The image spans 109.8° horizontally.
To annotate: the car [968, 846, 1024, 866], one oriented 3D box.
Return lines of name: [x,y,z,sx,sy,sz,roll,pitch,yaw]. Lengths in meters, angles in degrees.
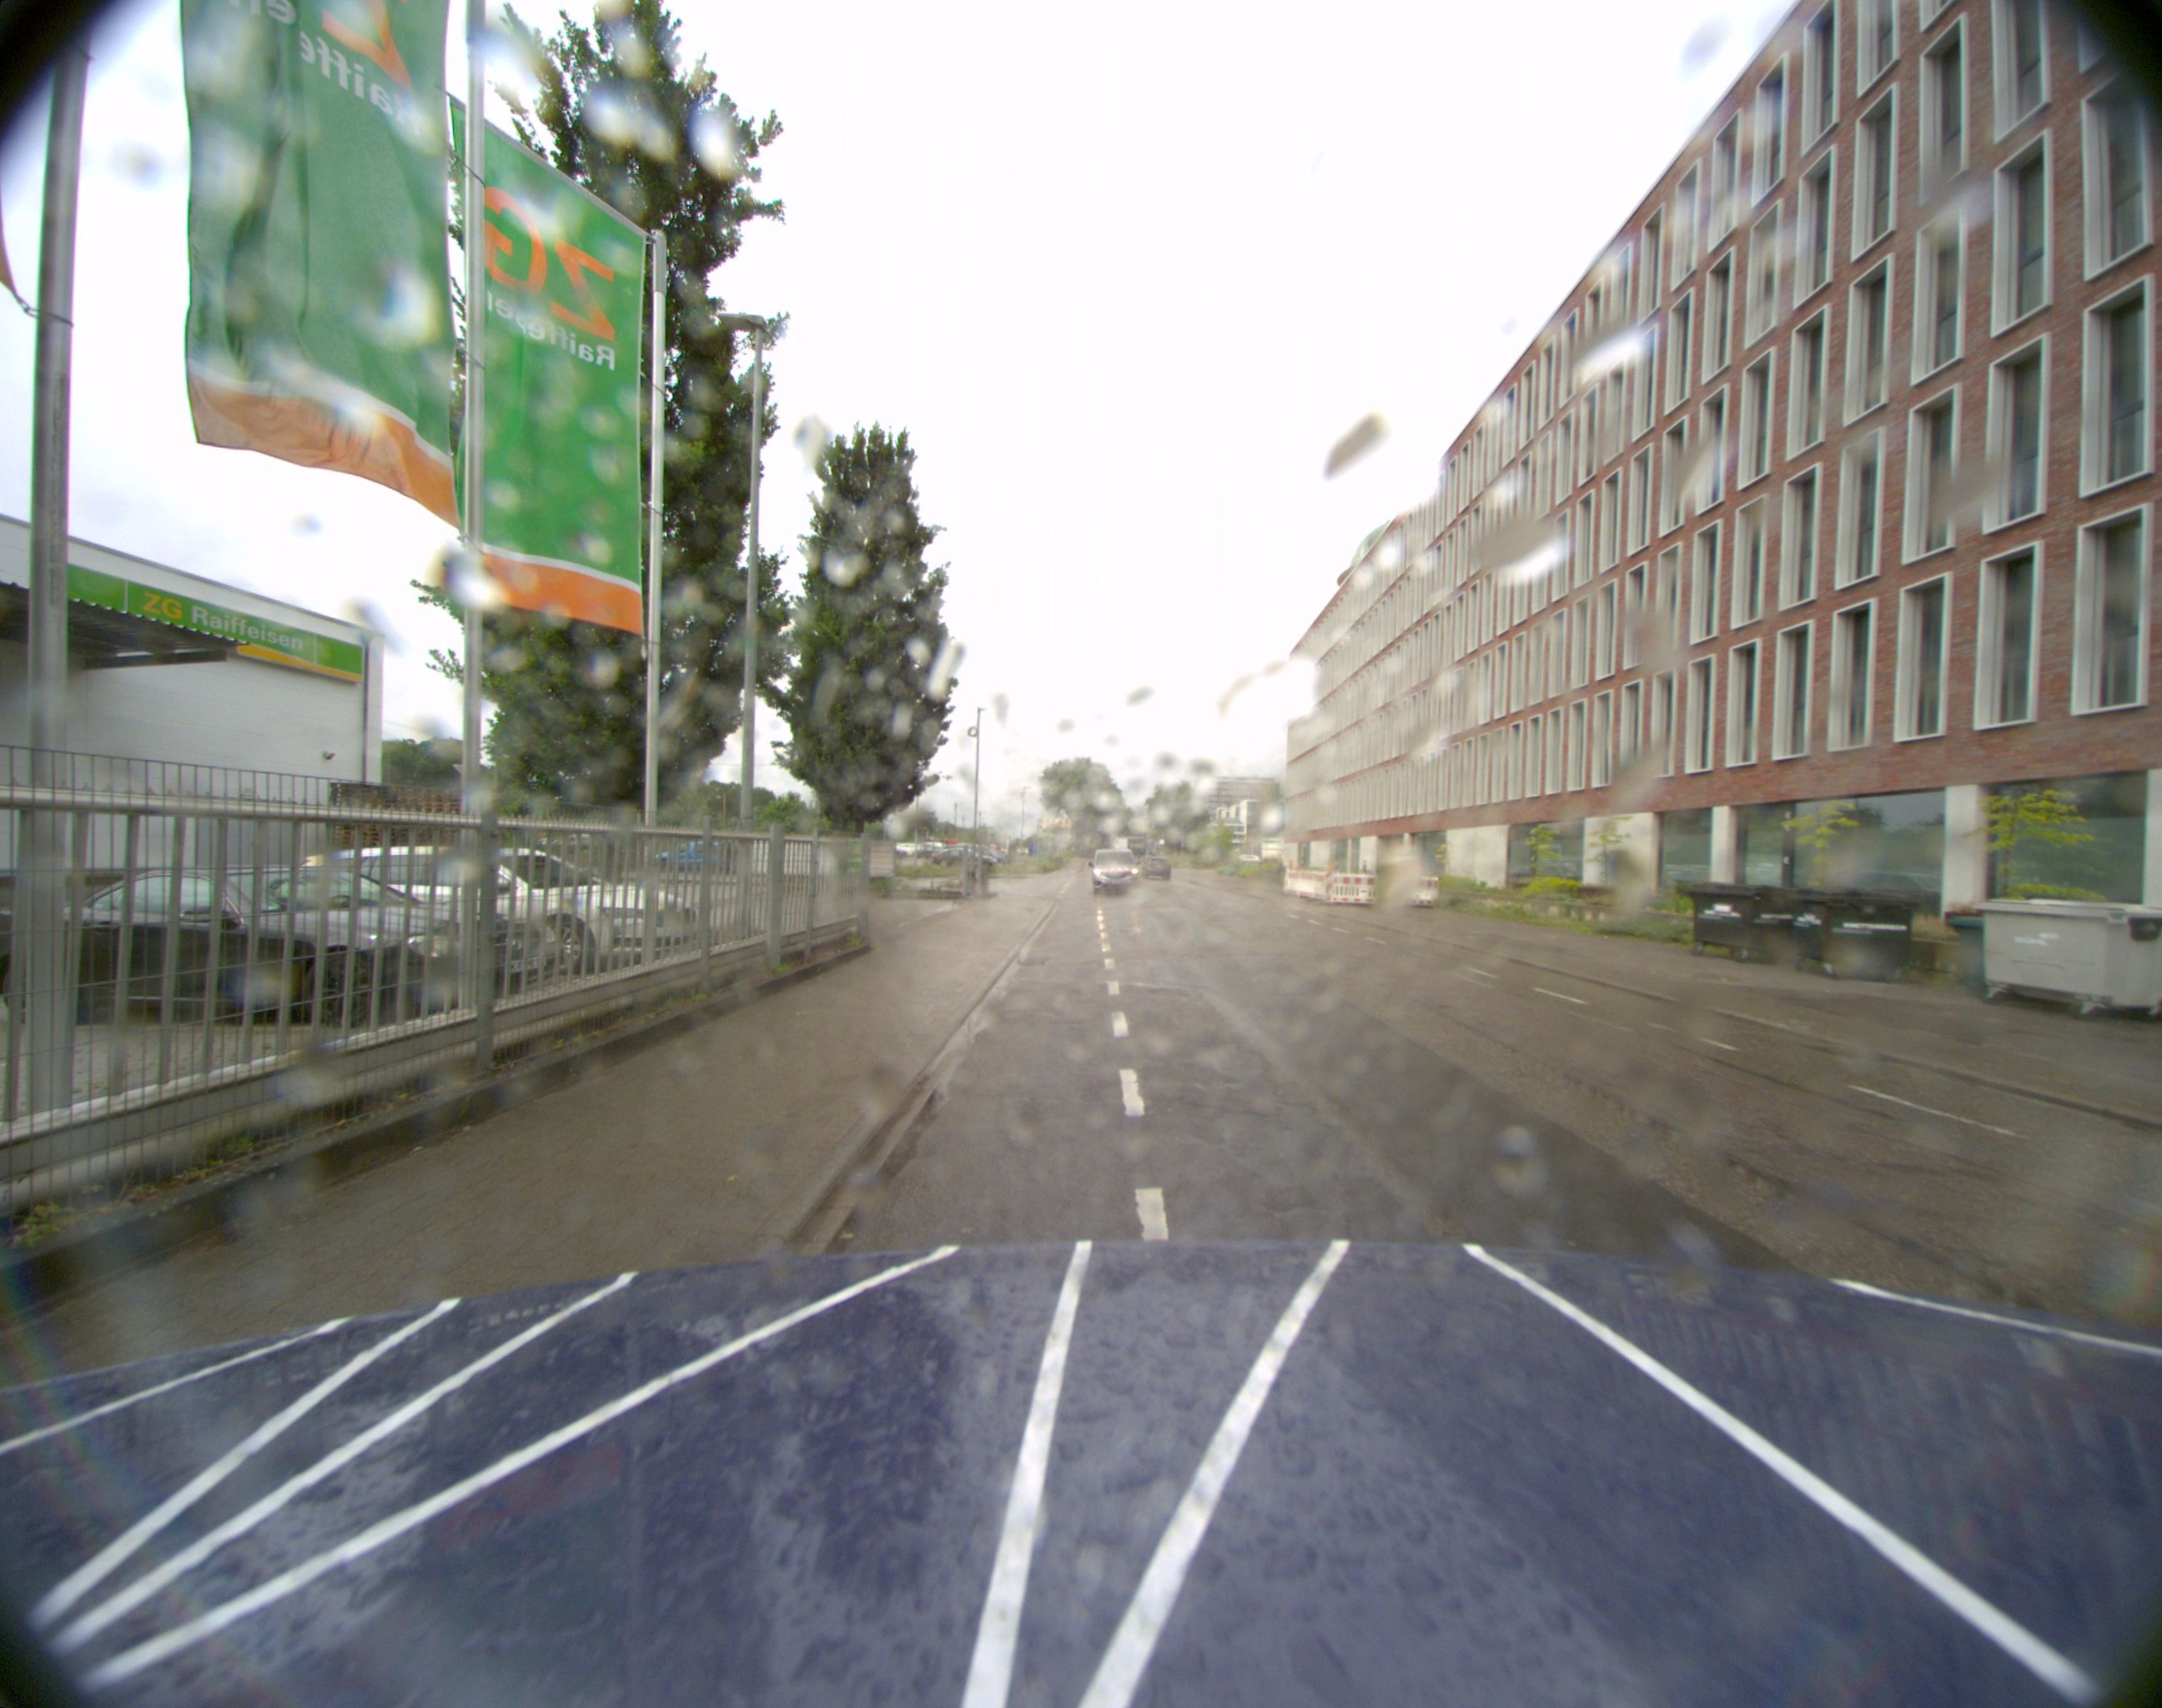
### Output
car: [-6.961,0.142,62.185,4.306,1.508,1.819,1,2,2]

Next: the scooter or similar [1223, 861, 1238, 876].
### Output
scooter or similar: [13.212,1.264,67.111,0.468,1.223,1.317,2,1,-27]

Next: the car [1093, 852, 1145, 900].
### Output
car: [1.466,0.807,30.611,1.838,1.714,4.172,2,1,0]

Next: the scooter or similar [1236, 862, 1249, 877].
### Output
scooter or similar: [13.831,1.341,65.178,0.466,1.223,1.211,4,1,44]

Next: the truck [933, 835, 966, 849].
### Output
truck: [-23.615,-2.147,136.654,5.301,2.354,2.153,3,1,1]

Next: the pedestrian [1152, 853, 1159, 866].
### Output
pedestrian: [9.942,0.777,101.335,0.911,1.708,1.026,2,2,1]

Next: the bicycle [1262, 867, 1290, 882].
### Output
bicycle: [14.068,1.483,54.828,1.864,1.071,0.544,0,1,0]

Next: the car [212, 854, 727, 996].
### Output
car: [-7.131,0.774,9.256,4.715,1.454,1.890,1,0,0]

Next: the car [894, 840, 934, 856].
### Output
car: [-18.641,-0.729,84.907,3.838,1.476,1.928,4,2,4]

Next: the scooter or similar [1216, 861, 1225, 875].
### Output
scooter or similar: [12.581,1.229,68.368,0.467,1.223,1.320,3,1,-2]

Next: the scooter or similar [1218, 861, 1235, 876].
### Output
scooter or similar: [12.578,1.264,65.857,1.317,1.223,0.468,3,1,30]

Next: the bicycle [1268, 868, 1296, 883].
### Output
bicycle: [14.088,1.504,53.280,1.864,1.071,0.544,0,1,0]

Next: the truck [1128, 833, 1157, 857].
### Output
truck: [12.591,-1.782,155.783,3.295,4.627,6.046,3,1,32]

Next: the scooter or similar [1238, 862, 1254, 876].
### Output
scooter or similar: [14.614,1.319,67.461,1.319,1.171,0.467,3,1,7]

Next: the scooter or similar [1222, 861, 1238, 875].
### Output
scooter or similar: [13.572,1.261,69.068,1.316,1.223,0.509,3,1,40]

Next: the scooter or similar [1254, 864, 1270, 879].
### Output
scooter or similar: [14.908,1.418,62.576,1.228,1.201,0.418,3,1,8]

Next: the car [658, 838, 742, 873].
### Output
car: [-22.255,0.098,44.489,3.997,1.911,1.831,2,0,0]

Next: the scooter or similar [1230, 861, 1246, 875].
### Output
scooter or similar: [14.077,1.288,68.028,1.319,1.171,0.467,3,1,7]

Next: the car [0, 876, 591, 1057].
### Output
car: [-6.719,0.873,6.533,3.948,1.249,1.619,1,1,0]

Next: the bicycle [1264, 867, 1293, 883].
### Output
bicycle: [14.079,1.492,54.164,1.864,1.071,0.544,0,1,0]

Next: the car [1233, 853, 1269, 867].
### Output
car: [23.674,0.838,106.029,4.533,1.632,1.999,2,1,-1]

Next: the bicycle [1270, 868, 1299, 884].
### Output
bicycle: [14.070,1.519,52.451,1.864,1.071,0.544,0,1,0]

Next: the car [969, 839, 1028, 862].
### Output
car: [-7.098,-0.305,65.836,4.690,1.725,2.128,3,2,6]

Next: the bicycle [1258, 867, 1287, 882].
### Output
bicycle: [14.049,1.482,55.659,1.953,1.071,0.620,0,1,0]

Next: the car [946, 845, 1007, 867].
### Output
car: [-7.743,0.122,56.391,4.191,1.501,1.890,1,2,2]

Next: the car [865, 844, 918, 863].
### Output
car: [-18.183,-0.033,73.105,4.633,1.706,2.017,1,2,-4]

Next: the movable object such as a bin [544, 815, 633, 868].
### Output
movable object such as a bin: [-29.467,-0.727,45.548,3.997,2.975,2.000,1,1,1]

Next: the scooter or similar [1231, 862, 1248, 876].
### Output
scooter or similar: [13.851,1.327,66.200,1.321,1.171,0.467,2,1,-11]

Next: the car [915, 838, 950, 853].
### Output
car: [-18.740,-1.053,95.897,3.911,1.575,1.786,4,2,4]

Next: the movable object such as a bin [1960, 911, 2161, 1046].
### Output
movable object such as a bin: [11.650,1.396,8.803,1.299,1.324,1.358,2,1,0]

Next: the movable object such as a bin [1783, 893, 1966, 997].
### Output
movable object such as a bin: [11.668,1.286,11.278,1.375,1.301,1.451,2,1,23]

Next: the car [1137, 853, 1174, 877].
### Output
car: [5.297,0.751,54.356,1.765,1.559,4.147,4,0,-5]

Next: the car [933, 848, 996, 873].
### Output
car: [-8.133,0.454,53.415,4.230,1.392,1.888,4,2,-7]

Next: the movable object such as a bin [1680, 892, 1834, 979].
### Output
movable object such as a bin: [11.594,1.368,13.102,1.299,1.301,1.448,2,1,-5]

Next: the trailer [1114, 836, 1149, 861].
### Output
trailer: [10.072,-1.125,149.450,3.297,4.627,13.752,3,1,19]
